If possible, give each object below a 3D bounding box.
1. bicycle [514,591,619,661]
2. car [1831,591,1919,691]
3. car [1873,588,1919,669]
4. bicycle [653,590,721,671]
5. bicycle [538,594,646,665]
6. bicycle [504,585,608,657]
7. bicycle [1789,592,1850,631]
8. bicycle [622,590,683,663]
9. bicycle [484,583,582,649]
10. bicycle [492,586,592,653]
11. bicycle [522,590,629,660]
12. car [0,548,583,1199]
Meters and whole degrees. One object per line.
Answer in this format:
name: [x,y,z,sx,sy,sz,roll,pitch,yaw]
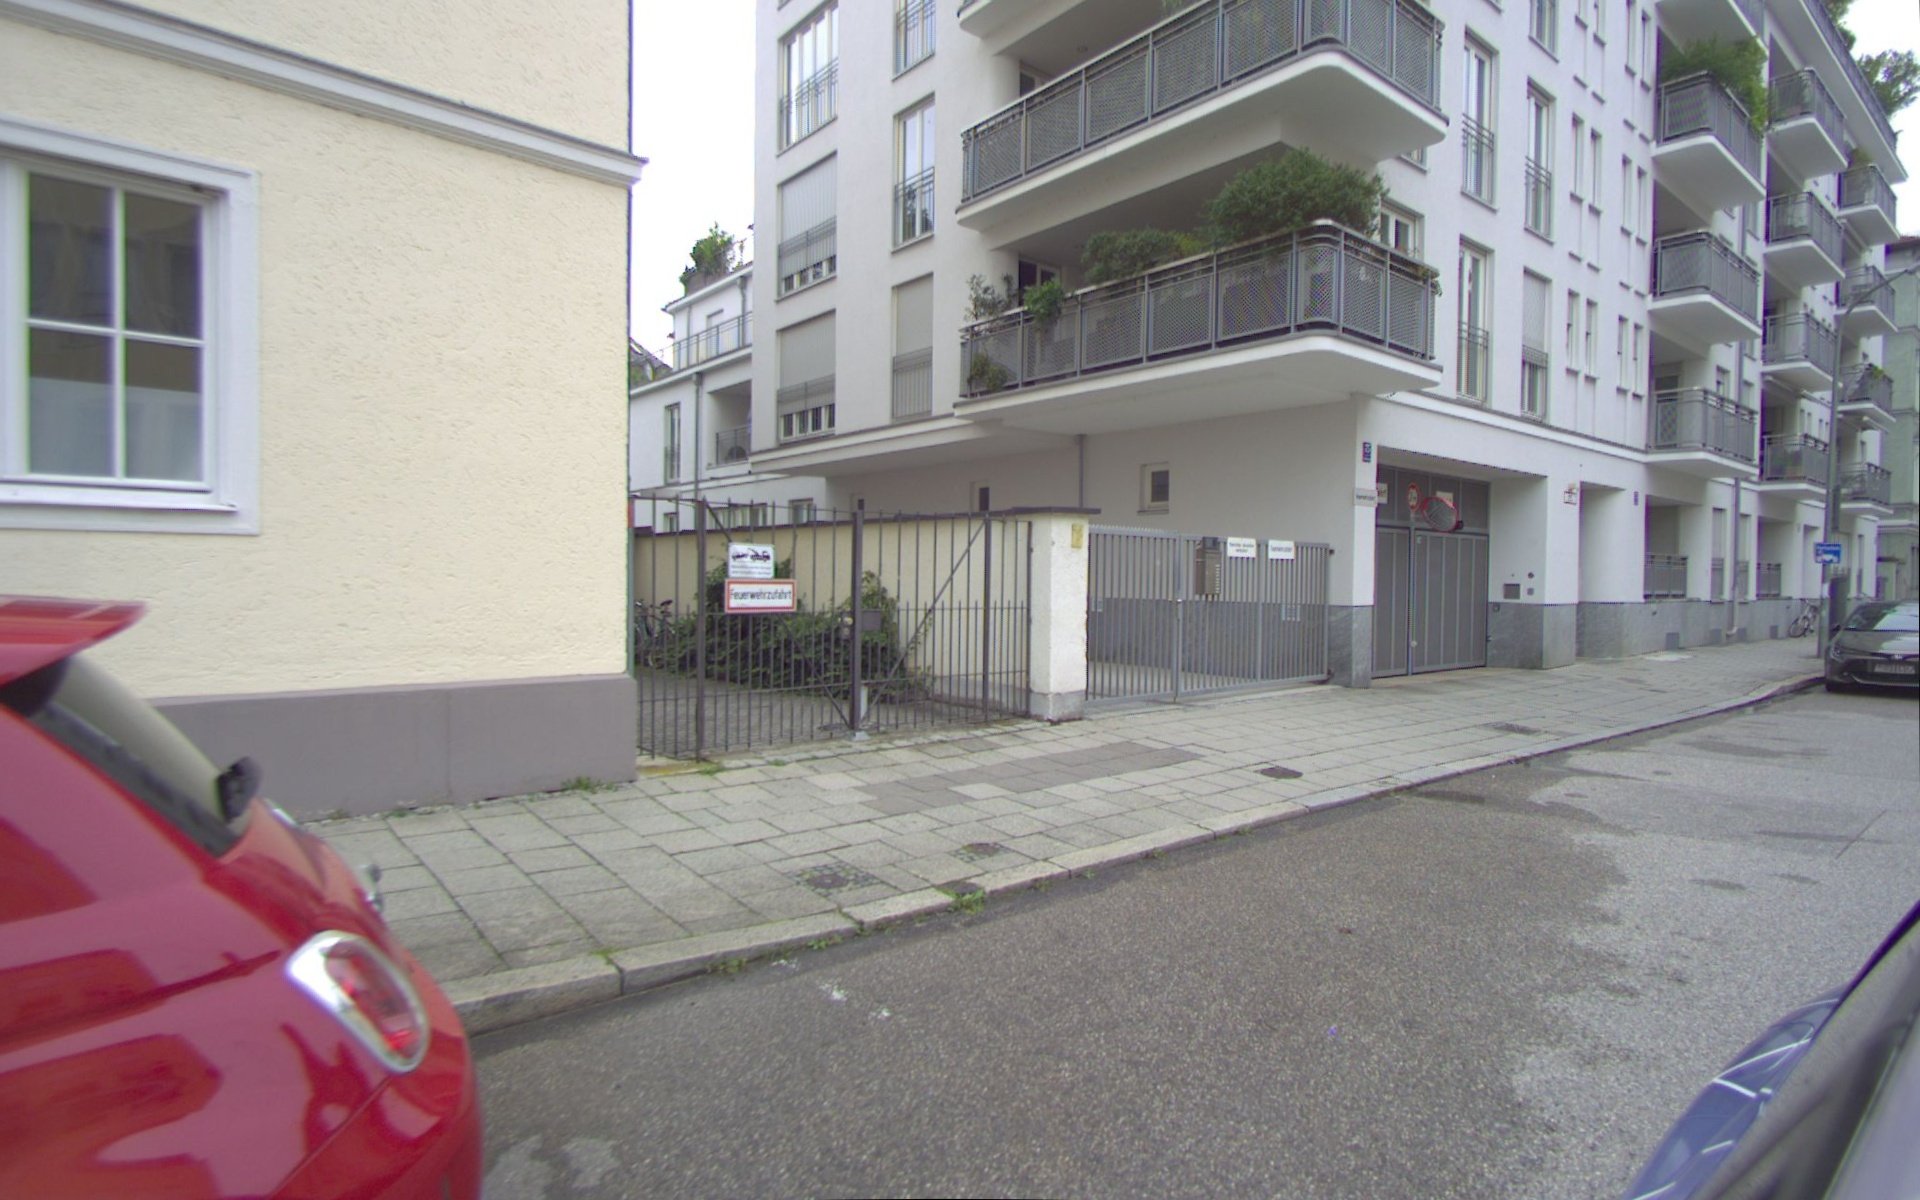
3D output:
bicycle: [-6.601,0.421,17.022,1.611,1.130,0.373,0,0,-39]
car: [15.318,0.588,16.132,4.176,1.411,1.781,-1,2,-44]
car: [19.039,0.522,19.508,3.359,1.475,1.765,-1,1,-41]
bicycle: [-3.909,0.413,14.431,0.425,1.097,1.364,0,0,-39]
bicycle: [-5.942,0.447,16.378,1.611,1.097,0.373,0,0,-38]
bicycle: [-6.936,0.339,17.409,1.611,1.175,0.423,0,0,-39]
bicycle: [23.387,0.300,27.531,1.913,1.027,0.582,-1,0,-28]
bicycle: [-4.797,0.388,15.758,0.425,1.097,1.364,0,0,-39]
bicycle: [-7.879,0.285,18.716,1.611,1.175,0.423,0,0,-39]
bicycle: [-7.489,0.329,18.183,1.611,1.175,0.423,0,0,-39]
bicycle: [-6.301,0.390,16.631,1.611,1.097,0.373,0,0,-38]
car: [-2.544,0.697,0.975,3.758,1.516,1.682,-1,1,-42]
